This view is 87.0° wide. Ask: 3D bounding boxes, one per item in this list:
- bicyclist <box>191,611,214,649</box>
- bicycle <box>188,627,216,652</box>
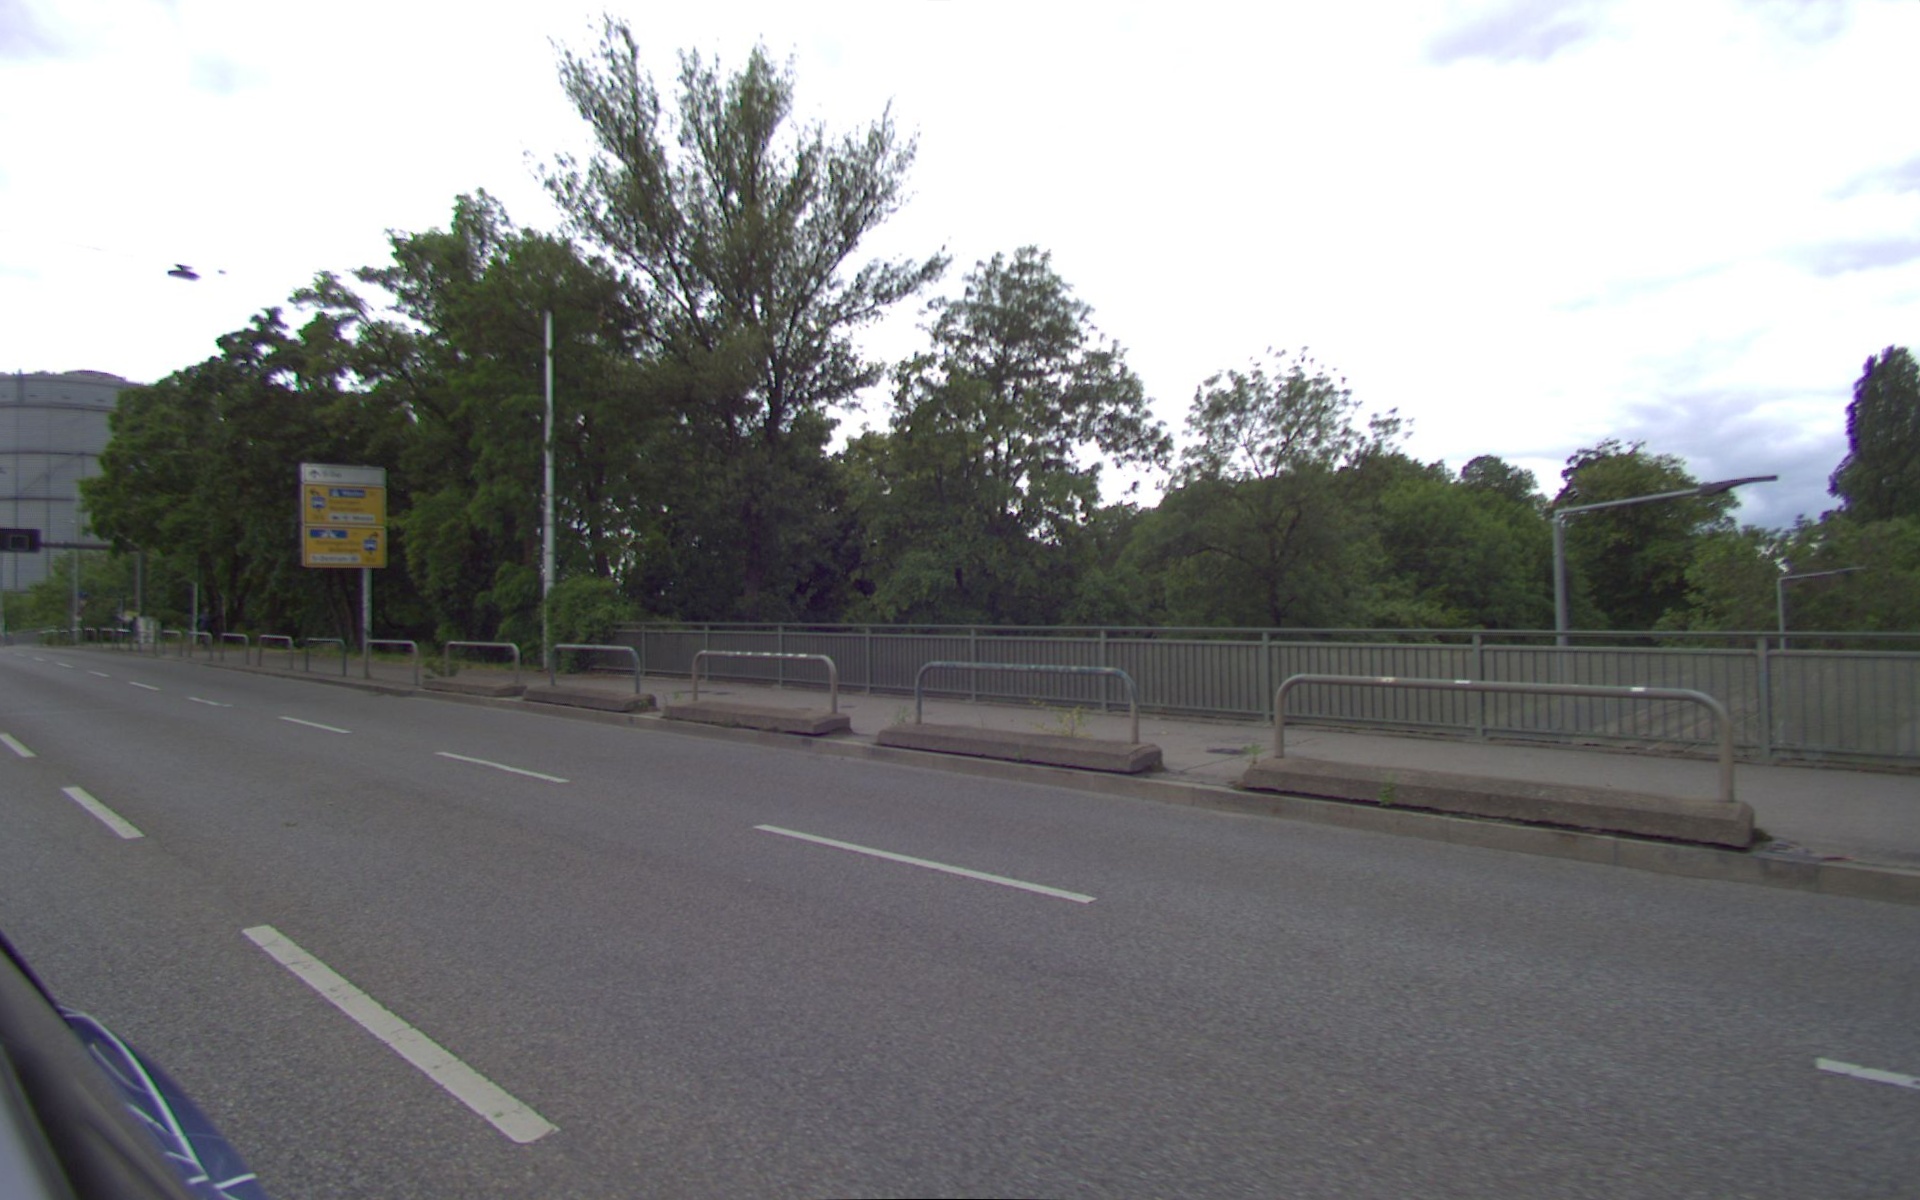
[{"bbox_3d":[-30.499,1.213,40.724,0.983,1.528,0.509,-1,-2,41],"label":"bicyclist"},{"bbox_3d":[-30.491,1.585,40.707,2.001,1.009,0.479,-1,-2,41],"label":"bicycle"}]
